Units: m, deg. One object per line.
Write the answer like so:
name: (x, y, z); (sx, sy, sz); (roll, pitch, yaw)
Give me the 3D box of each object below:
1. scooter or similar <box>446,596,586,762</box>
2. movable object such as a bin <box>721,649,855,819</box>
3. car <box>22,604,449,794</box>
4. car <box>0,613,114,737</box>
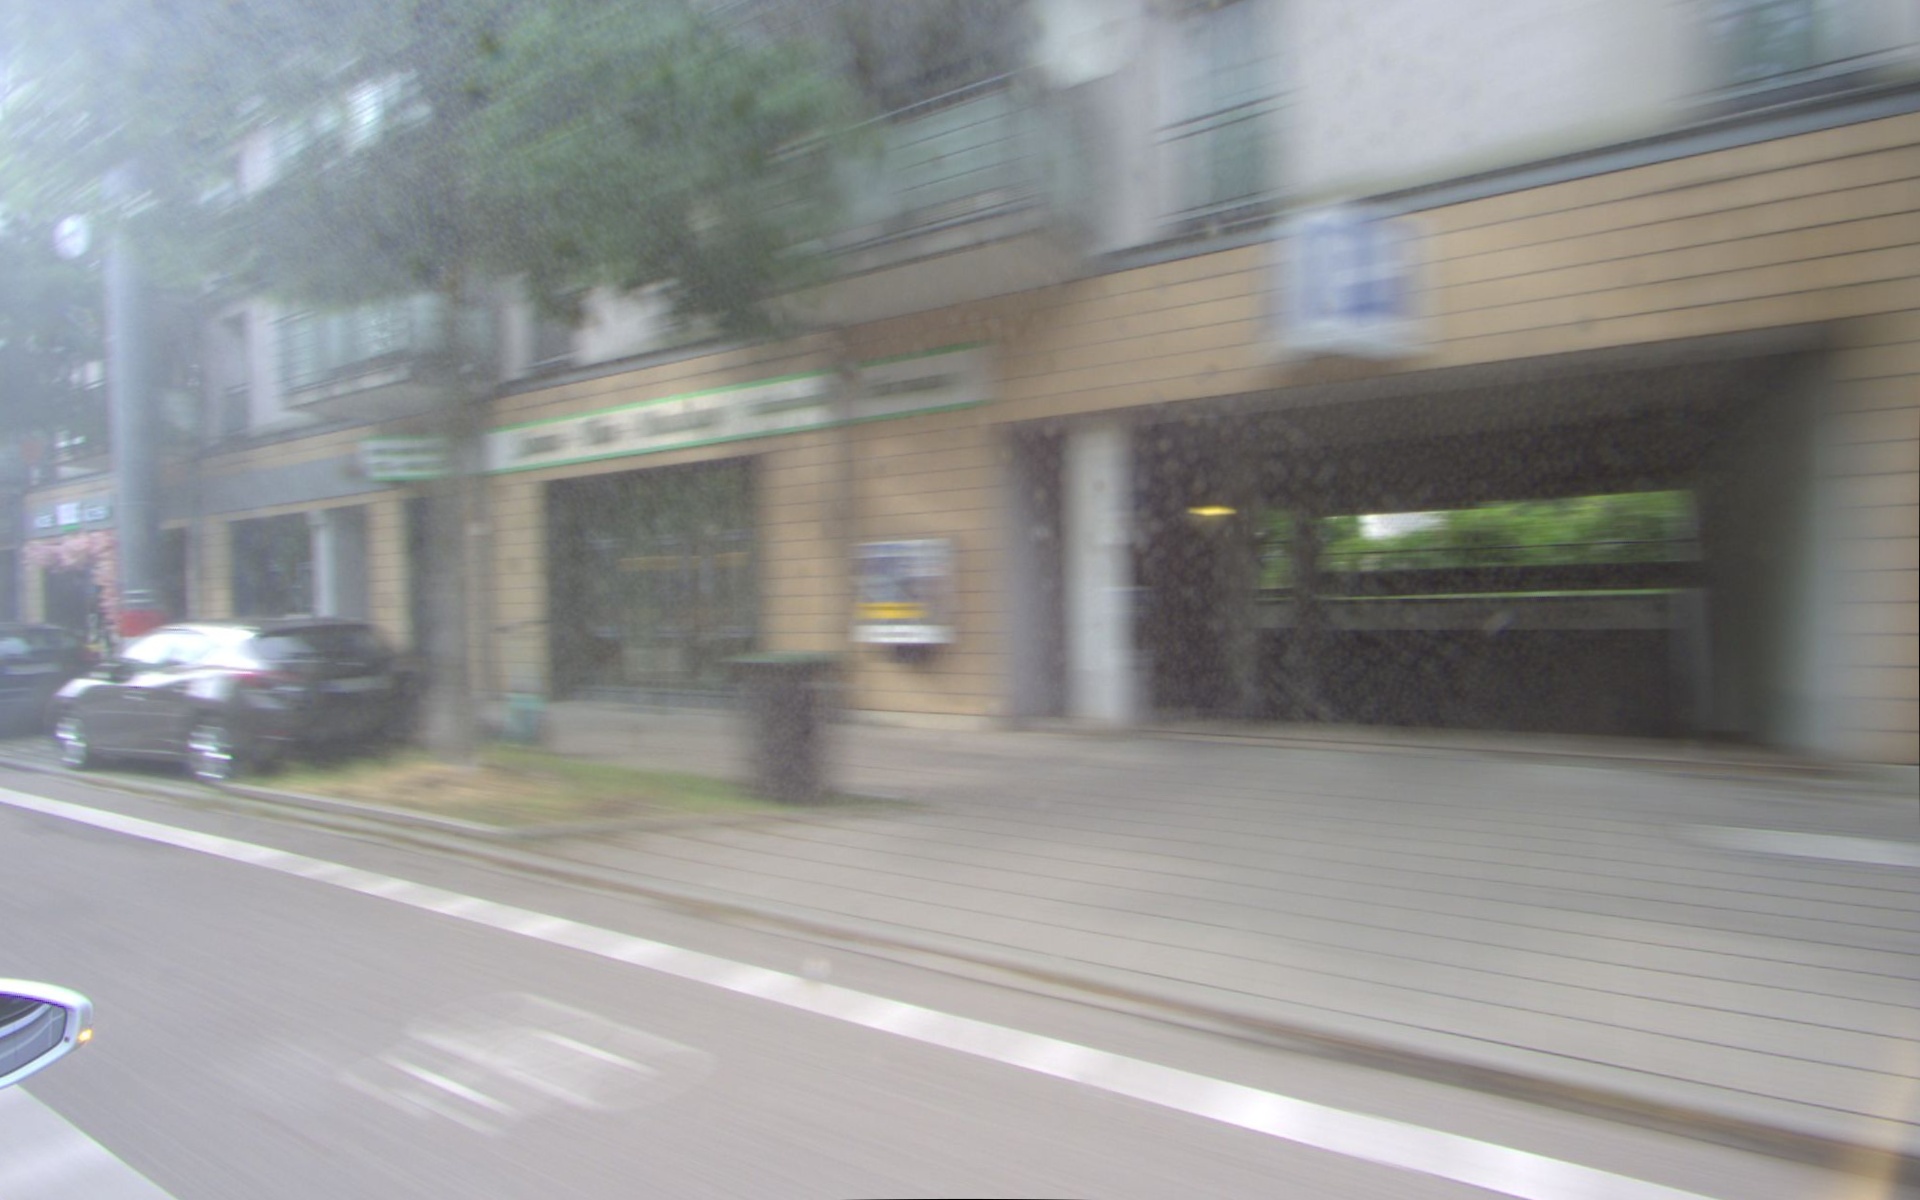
scooter or similar: (-4.216, 0.719, 9.497); (1.323, 1.474, 0.513); (-1, 2, 32)
movable object such as a bin: (-1.190, 0.897, 7.008); (0.533, 1.068, 0.760); (-1, 1, 32)
car: (-7.304, 0.861, 10.015); (4.324, 1.475, 1.794); (-1, 2, 30)
car: (-13.431, 0.979, 13.662); (4.346, 1.461, 1.671); (-1, 2, 33)
